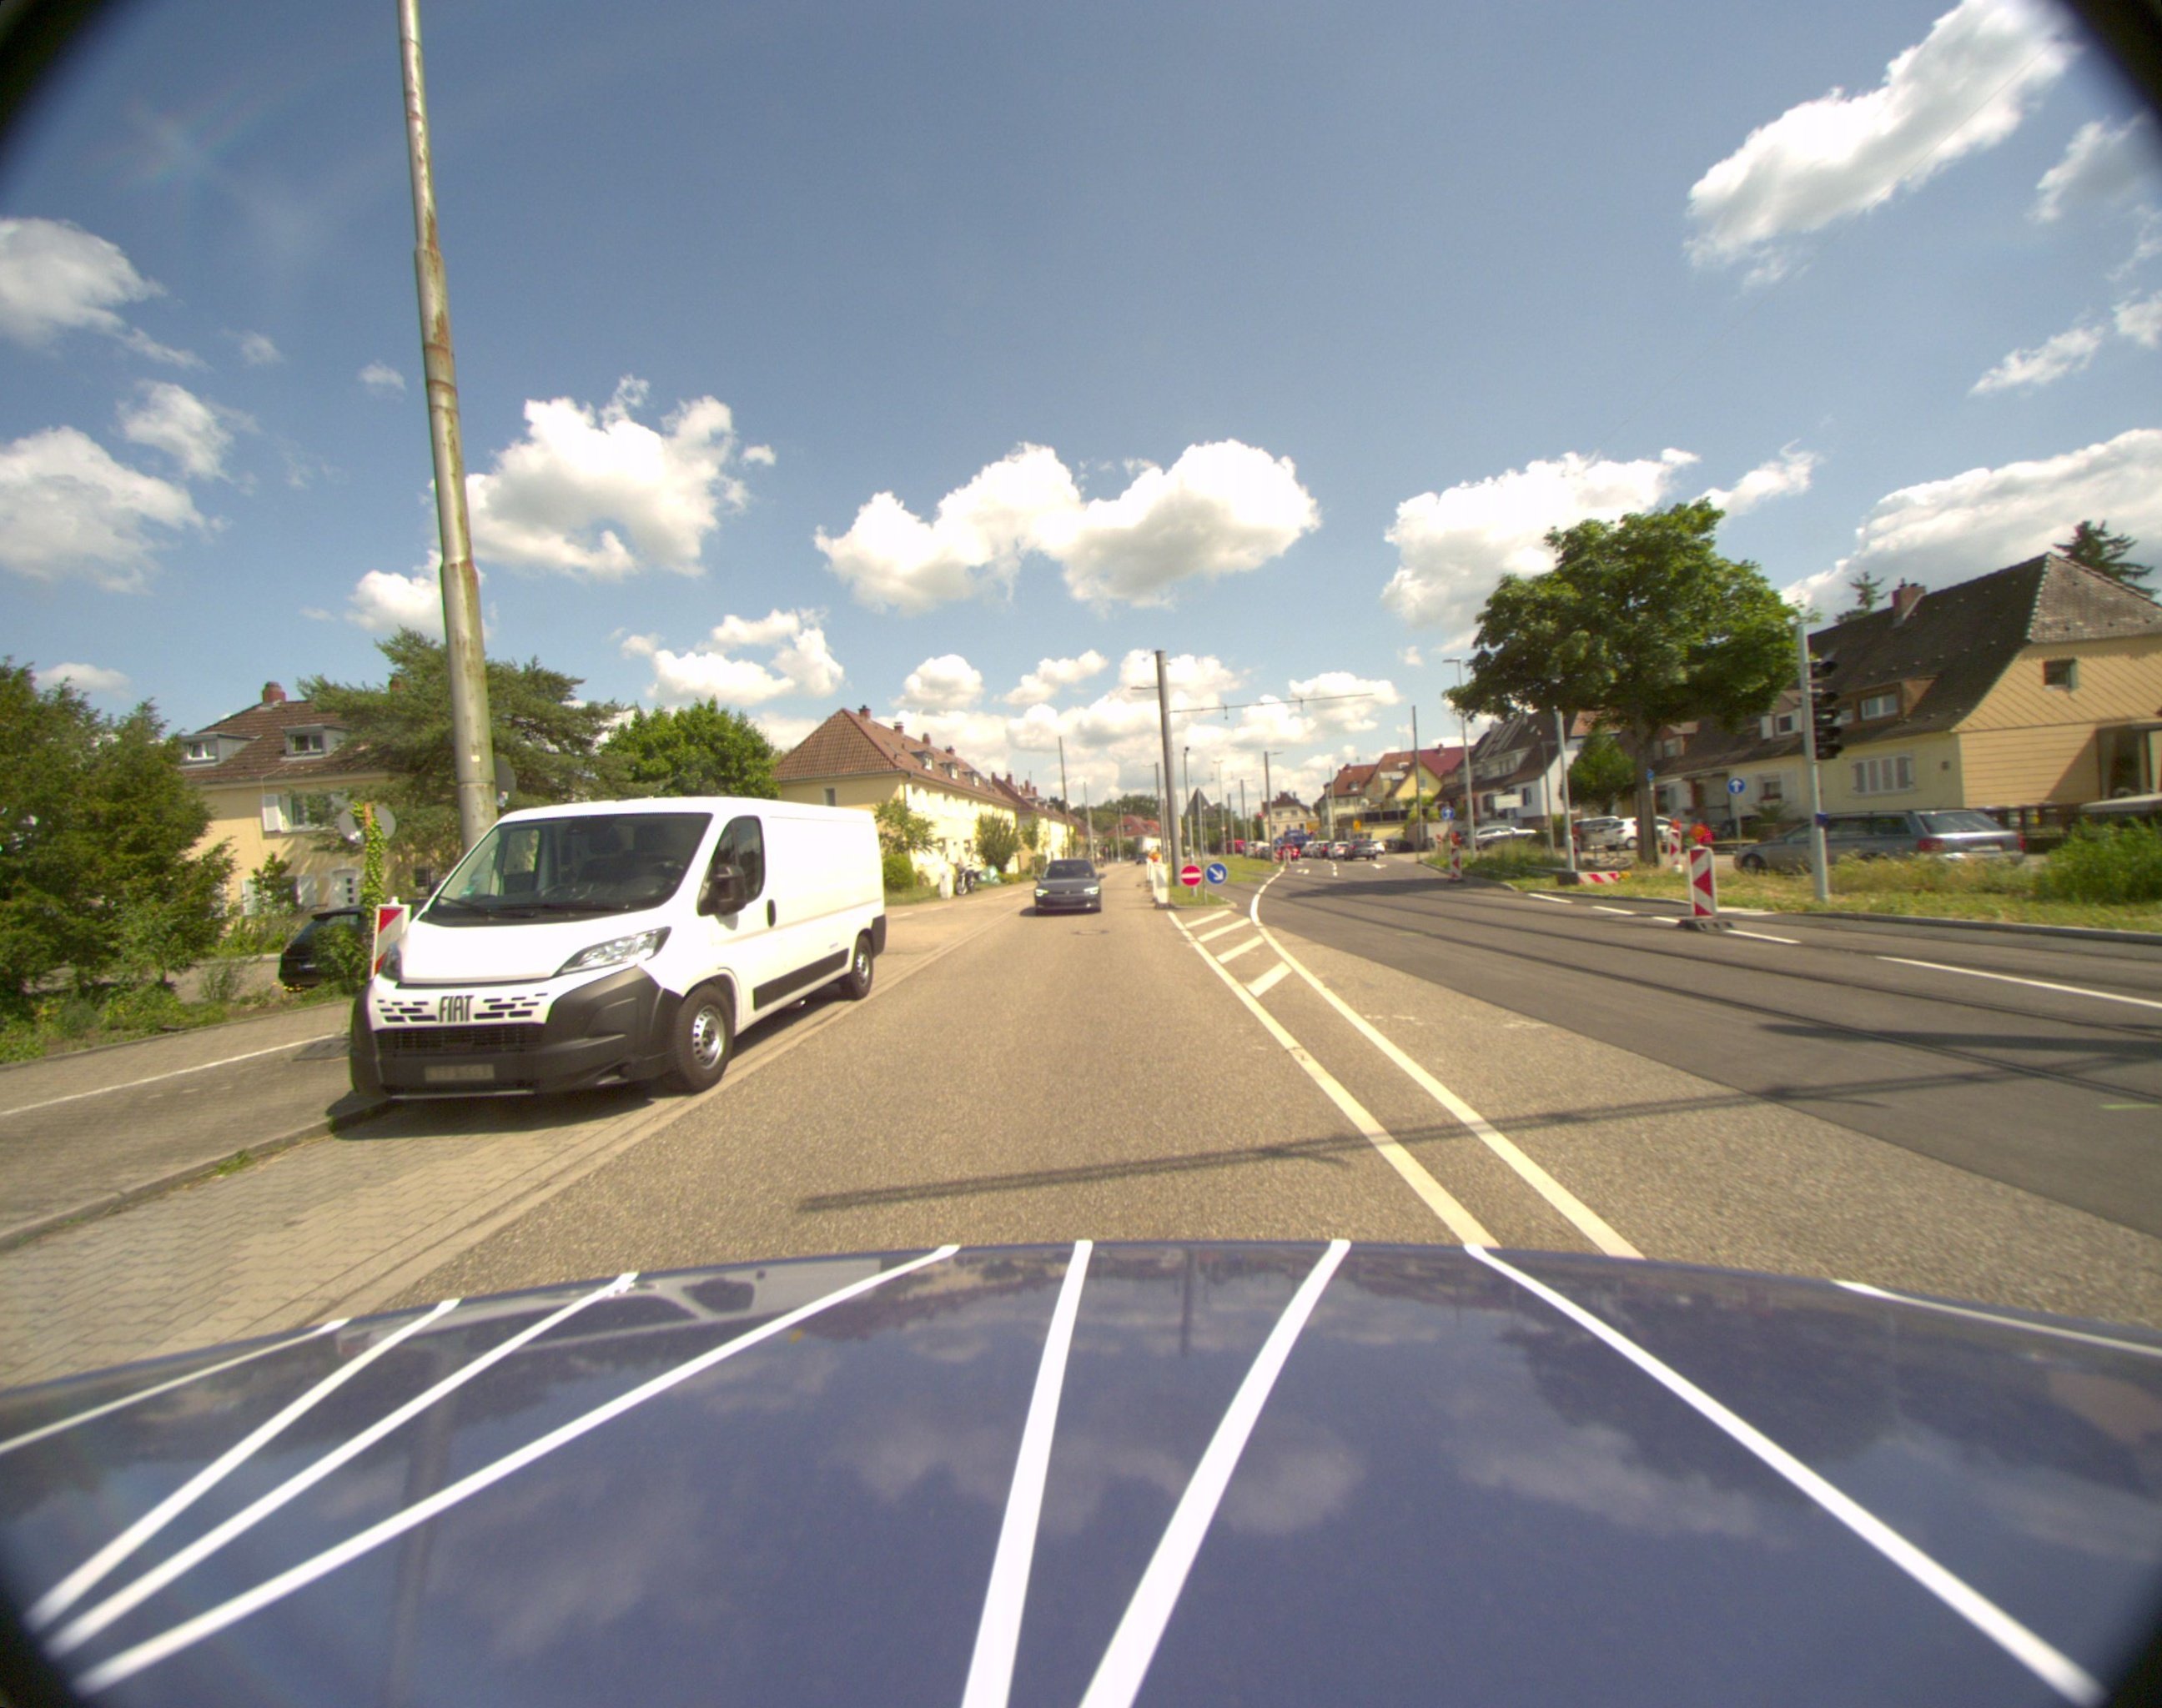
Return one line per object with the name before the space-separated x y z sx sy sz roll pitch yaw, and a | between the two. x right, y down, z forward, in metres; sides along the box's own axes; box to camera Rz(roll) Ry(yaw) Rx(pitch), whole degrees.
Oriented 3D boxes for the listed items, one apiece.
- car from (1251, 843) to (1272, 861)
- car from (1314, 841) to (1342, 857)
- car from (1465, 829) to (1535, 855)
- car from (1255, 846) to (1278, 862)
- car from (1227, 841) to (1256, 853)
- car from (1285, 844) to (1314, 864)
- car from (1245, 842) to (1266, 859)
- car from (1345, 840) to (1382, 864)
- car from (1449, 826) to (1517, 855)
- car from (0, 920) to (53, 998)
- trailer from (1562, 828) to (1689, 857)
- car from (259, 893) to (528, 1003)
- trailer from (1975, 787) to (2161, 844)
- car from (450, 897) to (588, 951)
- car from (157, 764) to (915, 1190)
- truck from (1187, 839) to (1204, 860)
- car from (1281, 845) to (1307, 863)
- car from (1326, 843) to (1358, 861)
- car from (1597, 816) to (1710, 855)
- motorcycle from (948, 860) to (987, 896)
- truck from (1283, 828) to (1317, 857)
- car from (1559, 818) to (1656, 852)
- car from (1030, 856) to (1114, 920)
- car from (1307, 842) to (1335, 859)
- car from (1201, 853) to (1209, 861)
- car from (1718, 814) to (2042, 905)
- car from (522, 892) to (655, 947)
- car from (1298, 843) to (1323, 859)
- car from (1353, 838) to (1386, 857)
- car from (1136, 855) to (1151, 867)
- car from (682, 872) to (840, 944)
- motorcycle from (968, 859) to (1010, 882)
car | 20.763 -0.240 87.449 1.729 1.843 4.544 -4 0 7
car | 22.351 -0.440 68.874 1.728 1.327 4.545 -4 0 10
car | 29.340 -0.846 53.329 3.887 1.546 1.682 -4 0 3
car | 19.768 -0.051 80.946 1.729 1.553 4.544 -4 0 7
car | 27.696 -1.221 131.301 2.289 1.861 4.976 -4 0 -24
car | 19.105 -0.019 66.519 1.729 1.553 4.544 -4 0 8
car | 21.763 -0.439 95.084 1.922 1.953 4.544 -4 0 7
car | 20.369 -0.164 54.948 1.728 1.518 4.774 -4 0 13
car | 29.715 -0.989 56.222 3.996 1.835 1.803 -4 0 3
car | -26.777 2.601 17.412 4.120 1.679 1.733 -4 3 4
trailer | 27.584 -0.587 38.611 4.932 1.118 1.961 -4 0 3
car | -13.044 1.690 14.797 1.632 1.538 3.809 -4 1 1
trailer | 30.342 -1.167 22.358 5.266 1.385 2.025 -4 0 6
car | -17.977 2.192 24.551 1.543 1.403 3.933 -3 -1 -1
car | -3.622 0.673 7.228 2.282 2.170 6.369 -3 0 3
truck | 29.952 -1.166 198.146 3.474 5.153 14.228 -4 0 11
car | 20.283 -0.044 72.531 1.729 1.553 4.646 -4 0 8
car | 21.197 -0.161 61.886 1.728 1.327 4.545 -4 0 10
car | 27.113 -0.859 36.064 3.960 1.535 1.761 -4 0 -1
motorcycle | -4.952 1.021 33.358 1.049 1.462 2.586 -1 0 6
truck | 25.831 -1.361 90.000 2.841 3.135 7.939 -4 0 9
car | 28.365 -1.019 41.016 3.891 1.535 1.707 -4 0 8
car | -0.142 0.866 21.482 1.741 1.513 4.704 -2 0 7
car | 23.836 -0.366 75.602 1.729 1.553 4.544 -4 0 8
car | 35.030 0.888 214.712 2.059 1.996 4.952 -3 0 11
car | 15.786 0.095 15.501 1.696 1.456 4.756 -4 0 3
car | -15.540 2.029 24.236 1.564 1.389 3.934 -4 -1 1
car | 24.724 -0.370 81.914 1.729 1.553 4.544 -4 0 7
car | 26.105 -0.613 68.984 1.729 1.553 4.544 -4 0 8
car | 8.938 1.023 108.284 1.878 1.543 4.987 -4 0 5
car | -7.753 1.240 18.926 1.643 1.372 4.289 -4 0 7
motorcycle | -5.425 0.992 44.890 2.232 1.190 0.855 -4 0 8
